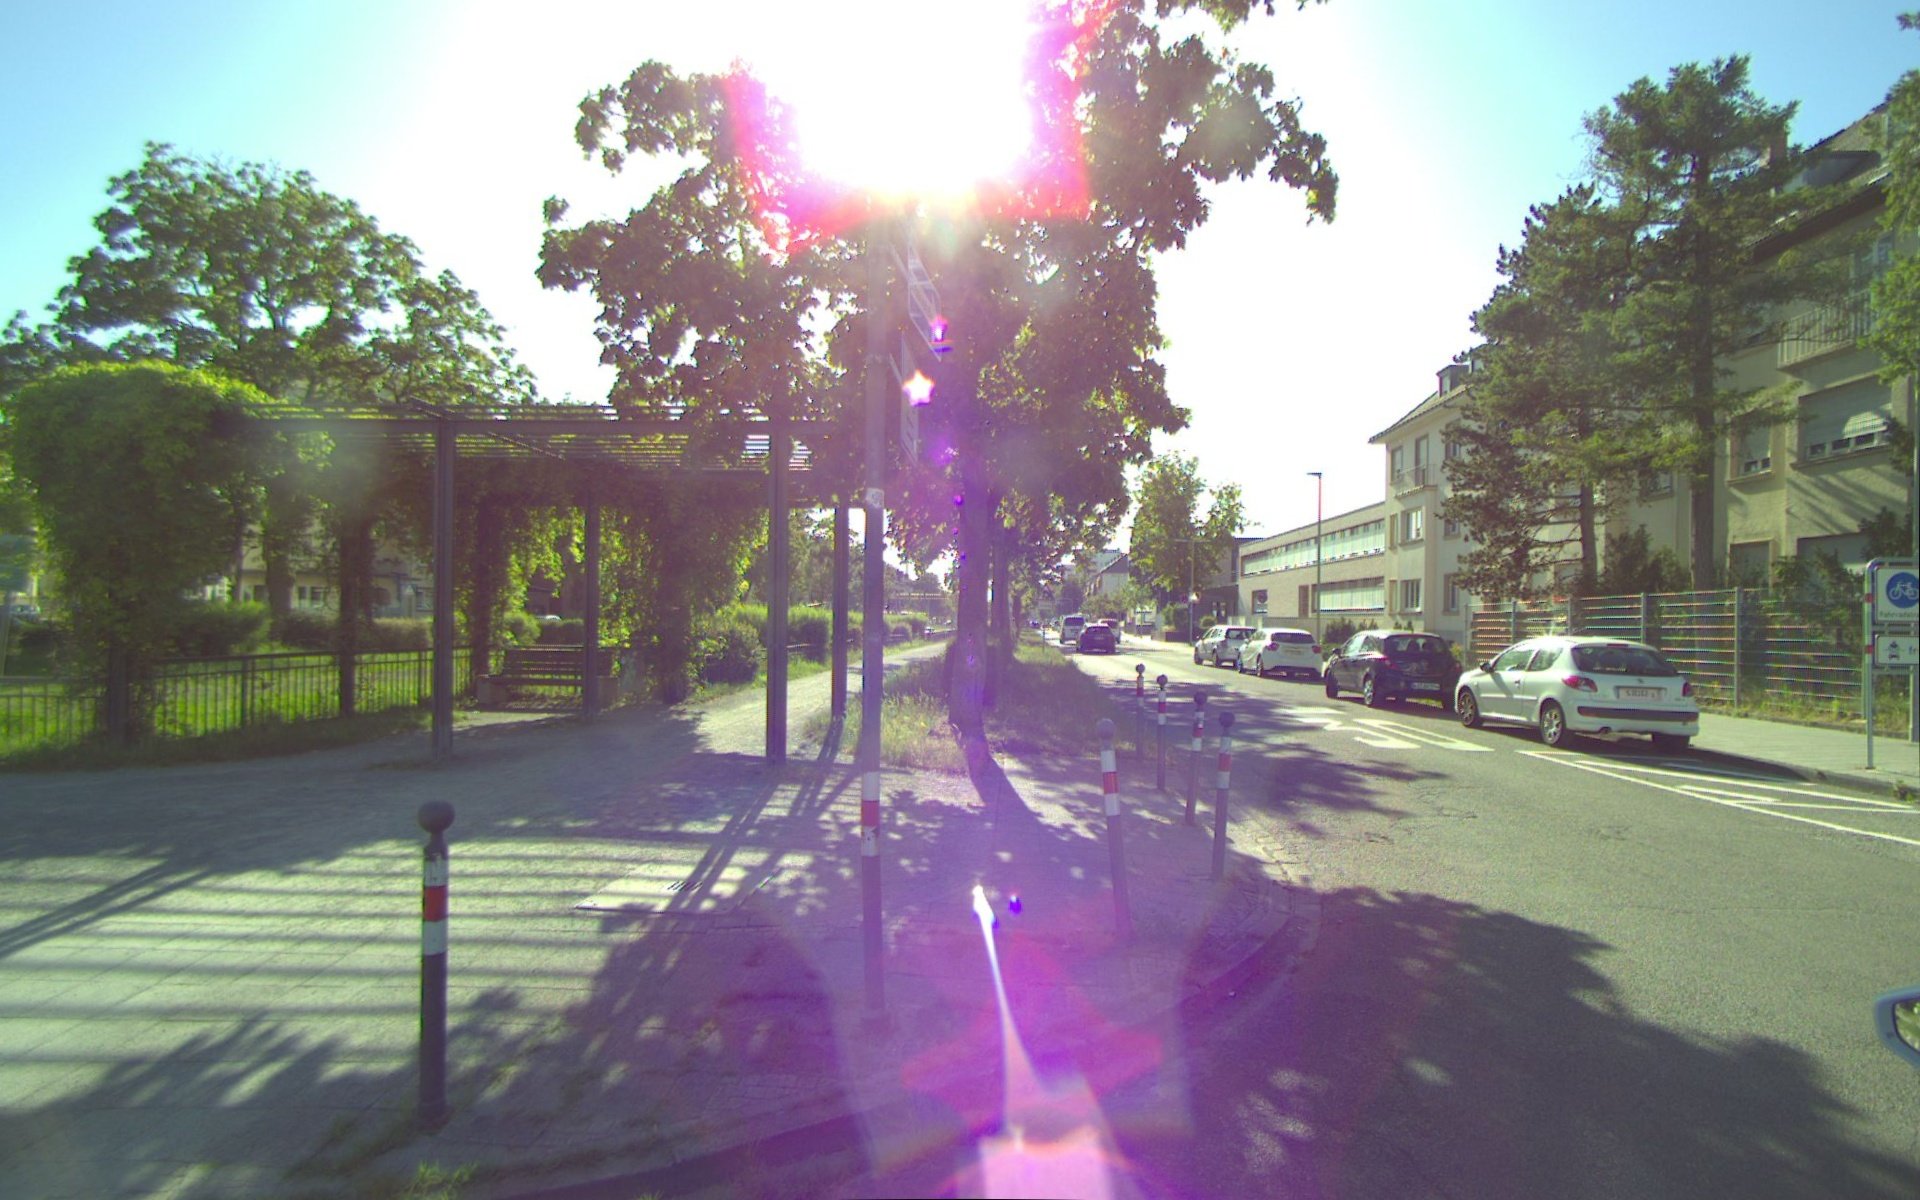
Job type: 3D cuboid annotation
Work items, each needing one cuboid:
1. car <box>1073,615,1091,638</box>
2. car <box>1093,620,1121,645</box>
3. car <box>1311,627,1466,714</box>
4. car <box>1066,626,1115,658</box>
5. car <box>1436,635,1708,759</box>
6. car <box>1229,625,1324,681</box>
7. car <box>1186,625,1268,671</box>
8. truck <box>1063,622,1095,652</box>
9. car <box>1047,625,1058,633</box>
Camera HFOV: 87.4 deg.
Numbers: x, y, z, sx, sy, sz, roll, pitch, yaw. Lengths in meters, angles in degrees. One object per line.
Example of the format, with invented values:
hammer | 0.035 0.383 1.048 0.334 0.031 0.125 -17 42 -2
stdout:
car | 13.855 3.042 114.193 1.786 2.551 4.002 1 -1 3
car | 11.376 2.498 77.852 1.786 1.854 4.002 1 -1 3
car | 8.472 1.343 20.212 1.643 1.514 3.828 2 -1 3
car | 6.604 2.099 51.302 1.960 1.545 4.757 1 -1 1
car | 8.421 1.258 14.242 1.673 1.417 3.778 2 -1 3
car | 9.466 1.535 30.324 1.765 1.514 4.002 2 -1 3
car | 9.611 1.691 36.466 1.766 1.514 4.000 2 -1 -1
truck | 8.578 2.666 72.972 1.960 2.063 4.876 0 -1 3
car | 16.294 5.171 176.750 1.786 1.376 4.002 1 -1 3
